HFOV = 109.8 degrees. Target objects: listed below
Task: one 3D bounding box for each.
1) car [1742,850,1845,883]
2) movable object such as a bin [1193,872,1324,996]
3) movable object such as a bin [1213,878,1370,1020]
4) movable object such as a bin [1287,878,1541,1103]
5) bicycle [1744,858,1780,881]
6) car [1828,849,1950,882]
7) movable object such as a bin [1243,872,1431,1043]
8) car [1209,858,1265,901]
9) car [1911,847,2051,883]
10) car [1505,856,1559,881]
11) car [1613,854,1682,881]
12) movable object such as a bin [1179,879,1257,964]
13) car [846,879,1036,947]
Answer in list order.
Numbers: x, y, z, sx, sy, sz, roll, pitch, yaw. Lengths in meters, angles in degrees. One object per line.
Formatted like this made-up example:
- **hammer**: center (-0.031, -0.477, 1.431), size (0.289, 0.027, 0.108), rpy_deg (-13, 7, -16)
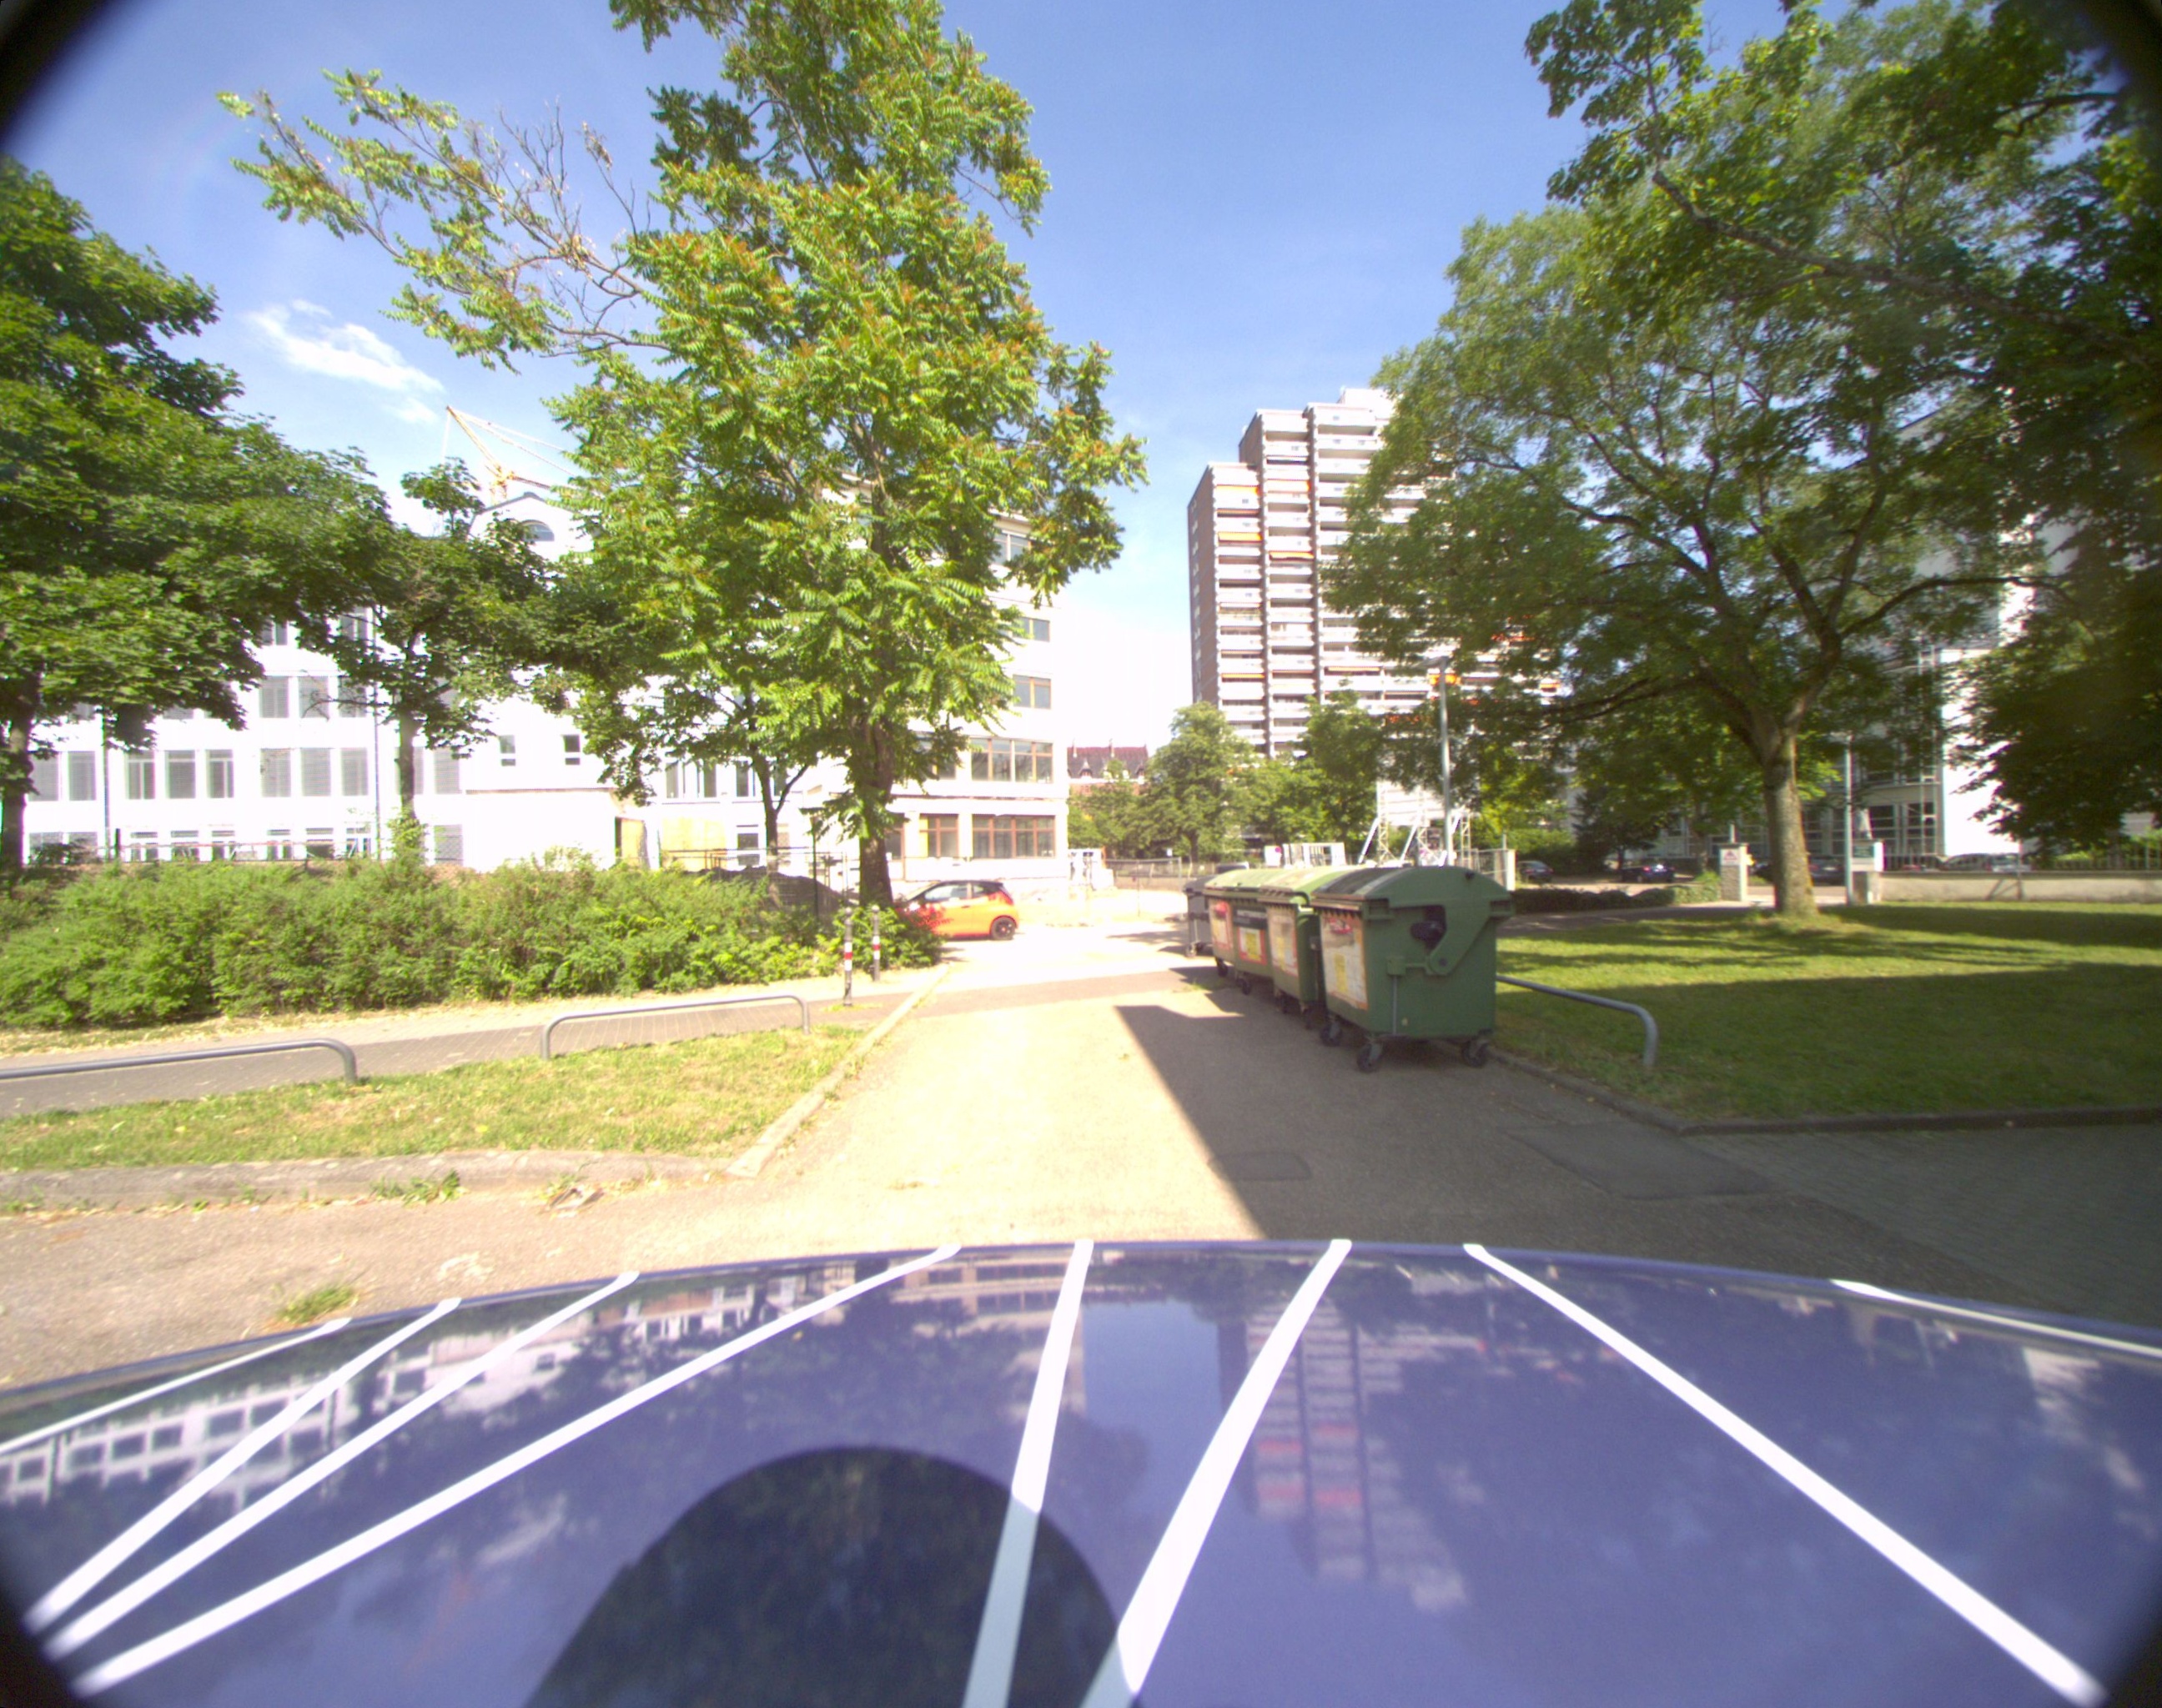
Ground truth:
- **car**: center (36.356, 0.618, 38.943), size (1.805, 1.556, 4.395), rpy_deg (-1, -1, 12)
- **movable object such as a bin**: center (2.293, 0.990, 10.027), size (1.248, 1.472, 1.338), rpy_deg (-1, 0, -9)
- **movable object such as a bin**: center (2.348, 1.009, 8.621), size (1.249, 1.422, 1.222), rpy_deg (-1, 0, -14)
- **movable object such as a bin**: center (2.402, 0.924, 5.721), size (1.248, 1.422, 1.349), rpy_deg (-1, 0, -4)
- **bicycle**: center (40.916, 0.930, 45.670), size (2.017, 1.370, 0.489), rpy_deg (-1, 0, -12)
- **car**: center (37.953, 0.540, 35.873), size (1.799, 1.467, 4.189), rpy_deg (-1, -1, 10)
- **movable object such as a bin**: center (2.359, 0.902, 7.232), size (1.248, 1.422, 1.365), rpy_deg (-1, 0, -4)
- **car**: center (7.155, 1.108, 34.564), size (1.918, 1.770, 4.319), rpy_deg (-3, -1, 19)
- **car**: center (40.015, 0.473, 33.972), size (1.799, 1.477, 4.345), rpy_deg (-1, -1, 14)
- **car**: center (29.459, 0.920, 49.766), size (1.840, 1.402, 4.151), rpy_deg (-3, 0, 13)
- **car**: center (32.879, 0.772, 44.248), size (1.651, 1.443, 4.004), rpy_deg (-2, -1, 11)
- **movable object such as a bin**: center (2.482, 1.171, 13.647), size (1.246, 1.388, 1.406), rpy_deg (-1, 0, 15)
- **car**: center (-3.316, 1.333, 17.951), size (4.179, 1.404, 1.660), rpy_deg (0, -1, -20)
